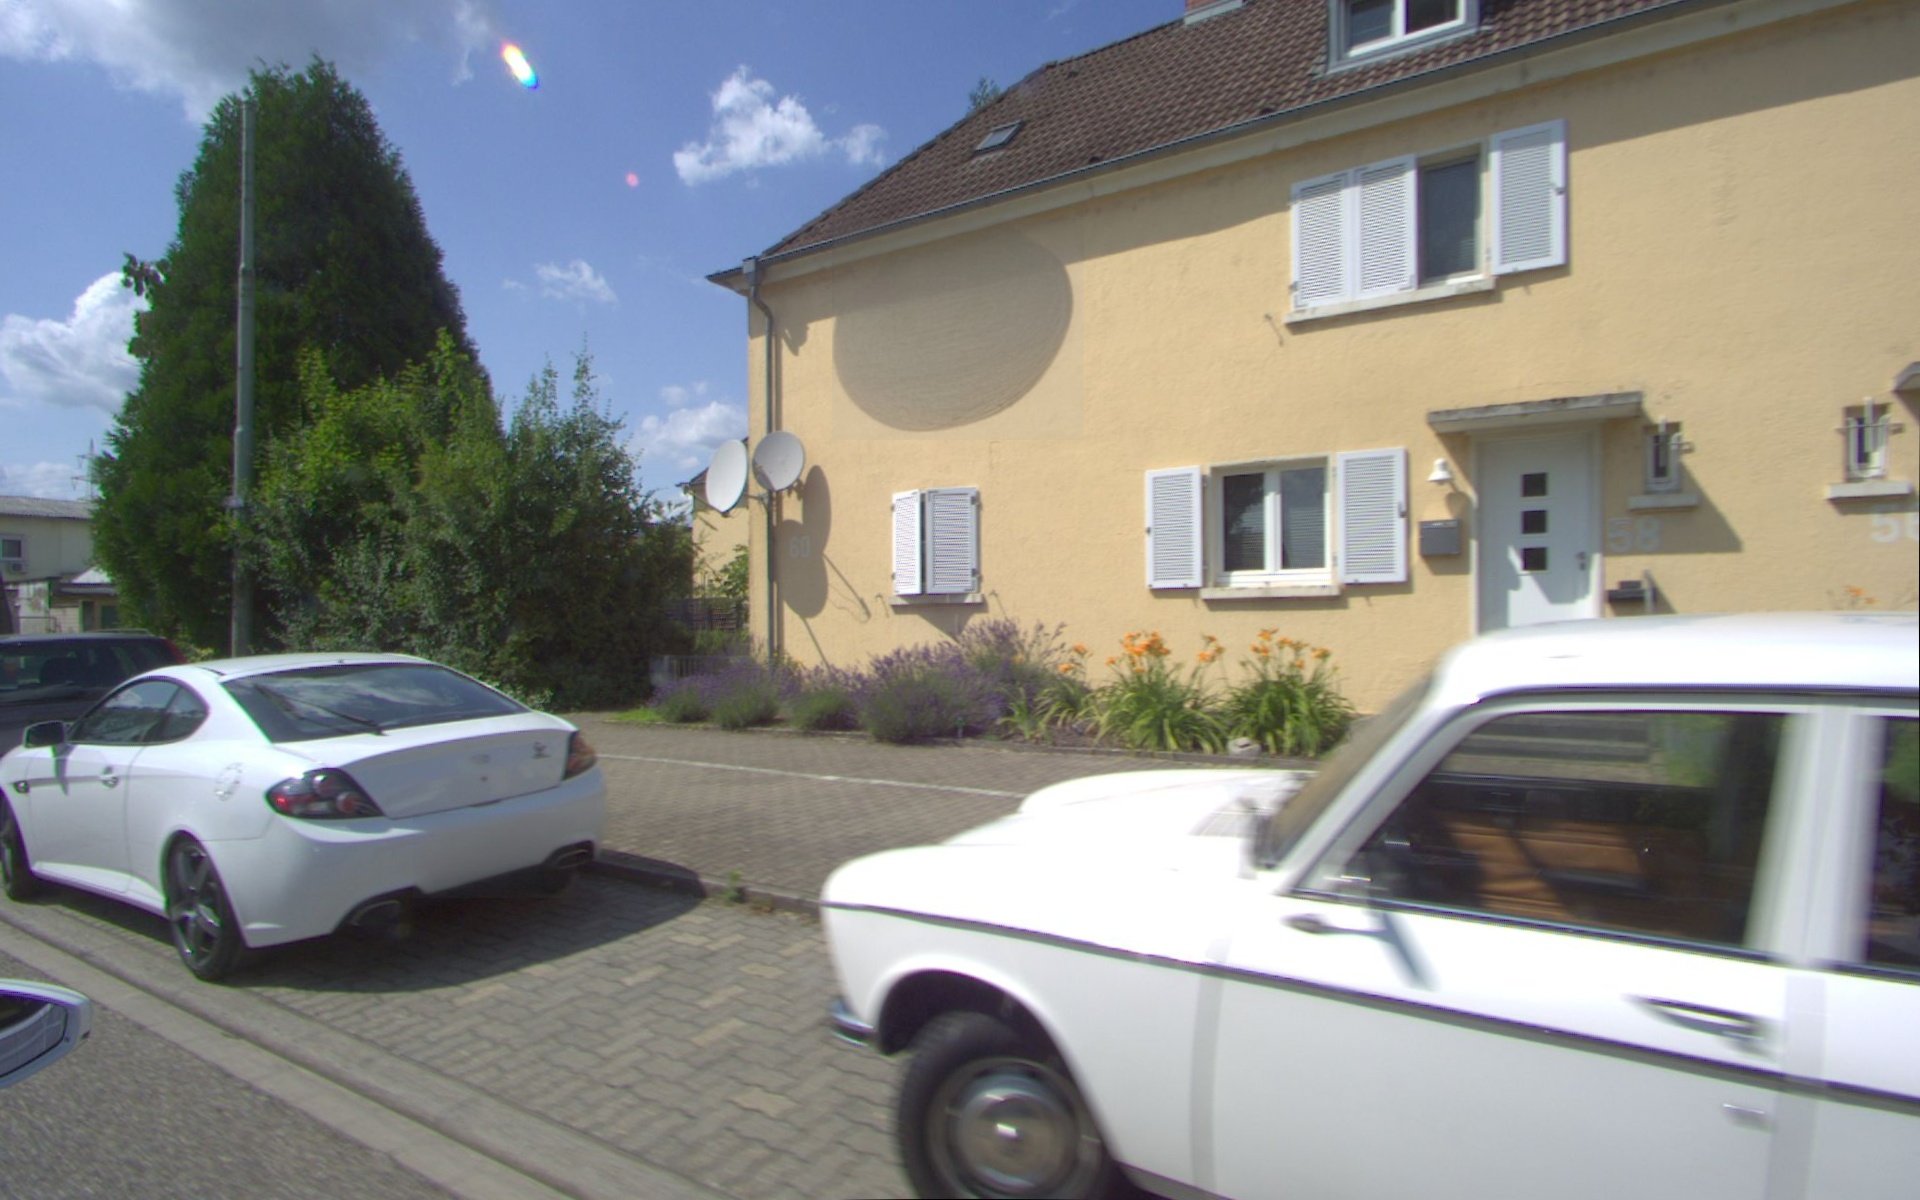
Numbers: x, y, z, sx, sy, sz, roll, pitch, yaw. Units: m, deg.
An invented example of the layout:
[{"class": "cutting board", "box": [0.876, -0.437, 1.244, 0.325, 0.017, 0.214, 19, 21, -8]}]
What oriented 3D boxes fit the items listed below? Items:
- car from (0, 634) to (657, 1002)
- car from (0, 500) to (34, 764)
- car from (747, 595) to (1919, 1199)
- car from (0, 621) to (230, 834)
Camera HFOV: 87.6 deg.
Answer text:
[{"class": "car", "box": [-3.728, 0.876, 5.509, 4.070, 1.312, 1.717, -2, -1, 33]}, {"class": "car", "box": [-12.570, 0.390, 11.318, 4.811, 2.796, 1.991, -2, -1, 33]}, {"class": "car", "box": [1.574, 0.721, 2.068, 3.971, 1.437, 1.645, -2, -1, 34]}, {"class": "car", "box": [-8.197, 0.929, 8.465, 4.770, 1.420, 1.717, -2, -1, 33]}]
